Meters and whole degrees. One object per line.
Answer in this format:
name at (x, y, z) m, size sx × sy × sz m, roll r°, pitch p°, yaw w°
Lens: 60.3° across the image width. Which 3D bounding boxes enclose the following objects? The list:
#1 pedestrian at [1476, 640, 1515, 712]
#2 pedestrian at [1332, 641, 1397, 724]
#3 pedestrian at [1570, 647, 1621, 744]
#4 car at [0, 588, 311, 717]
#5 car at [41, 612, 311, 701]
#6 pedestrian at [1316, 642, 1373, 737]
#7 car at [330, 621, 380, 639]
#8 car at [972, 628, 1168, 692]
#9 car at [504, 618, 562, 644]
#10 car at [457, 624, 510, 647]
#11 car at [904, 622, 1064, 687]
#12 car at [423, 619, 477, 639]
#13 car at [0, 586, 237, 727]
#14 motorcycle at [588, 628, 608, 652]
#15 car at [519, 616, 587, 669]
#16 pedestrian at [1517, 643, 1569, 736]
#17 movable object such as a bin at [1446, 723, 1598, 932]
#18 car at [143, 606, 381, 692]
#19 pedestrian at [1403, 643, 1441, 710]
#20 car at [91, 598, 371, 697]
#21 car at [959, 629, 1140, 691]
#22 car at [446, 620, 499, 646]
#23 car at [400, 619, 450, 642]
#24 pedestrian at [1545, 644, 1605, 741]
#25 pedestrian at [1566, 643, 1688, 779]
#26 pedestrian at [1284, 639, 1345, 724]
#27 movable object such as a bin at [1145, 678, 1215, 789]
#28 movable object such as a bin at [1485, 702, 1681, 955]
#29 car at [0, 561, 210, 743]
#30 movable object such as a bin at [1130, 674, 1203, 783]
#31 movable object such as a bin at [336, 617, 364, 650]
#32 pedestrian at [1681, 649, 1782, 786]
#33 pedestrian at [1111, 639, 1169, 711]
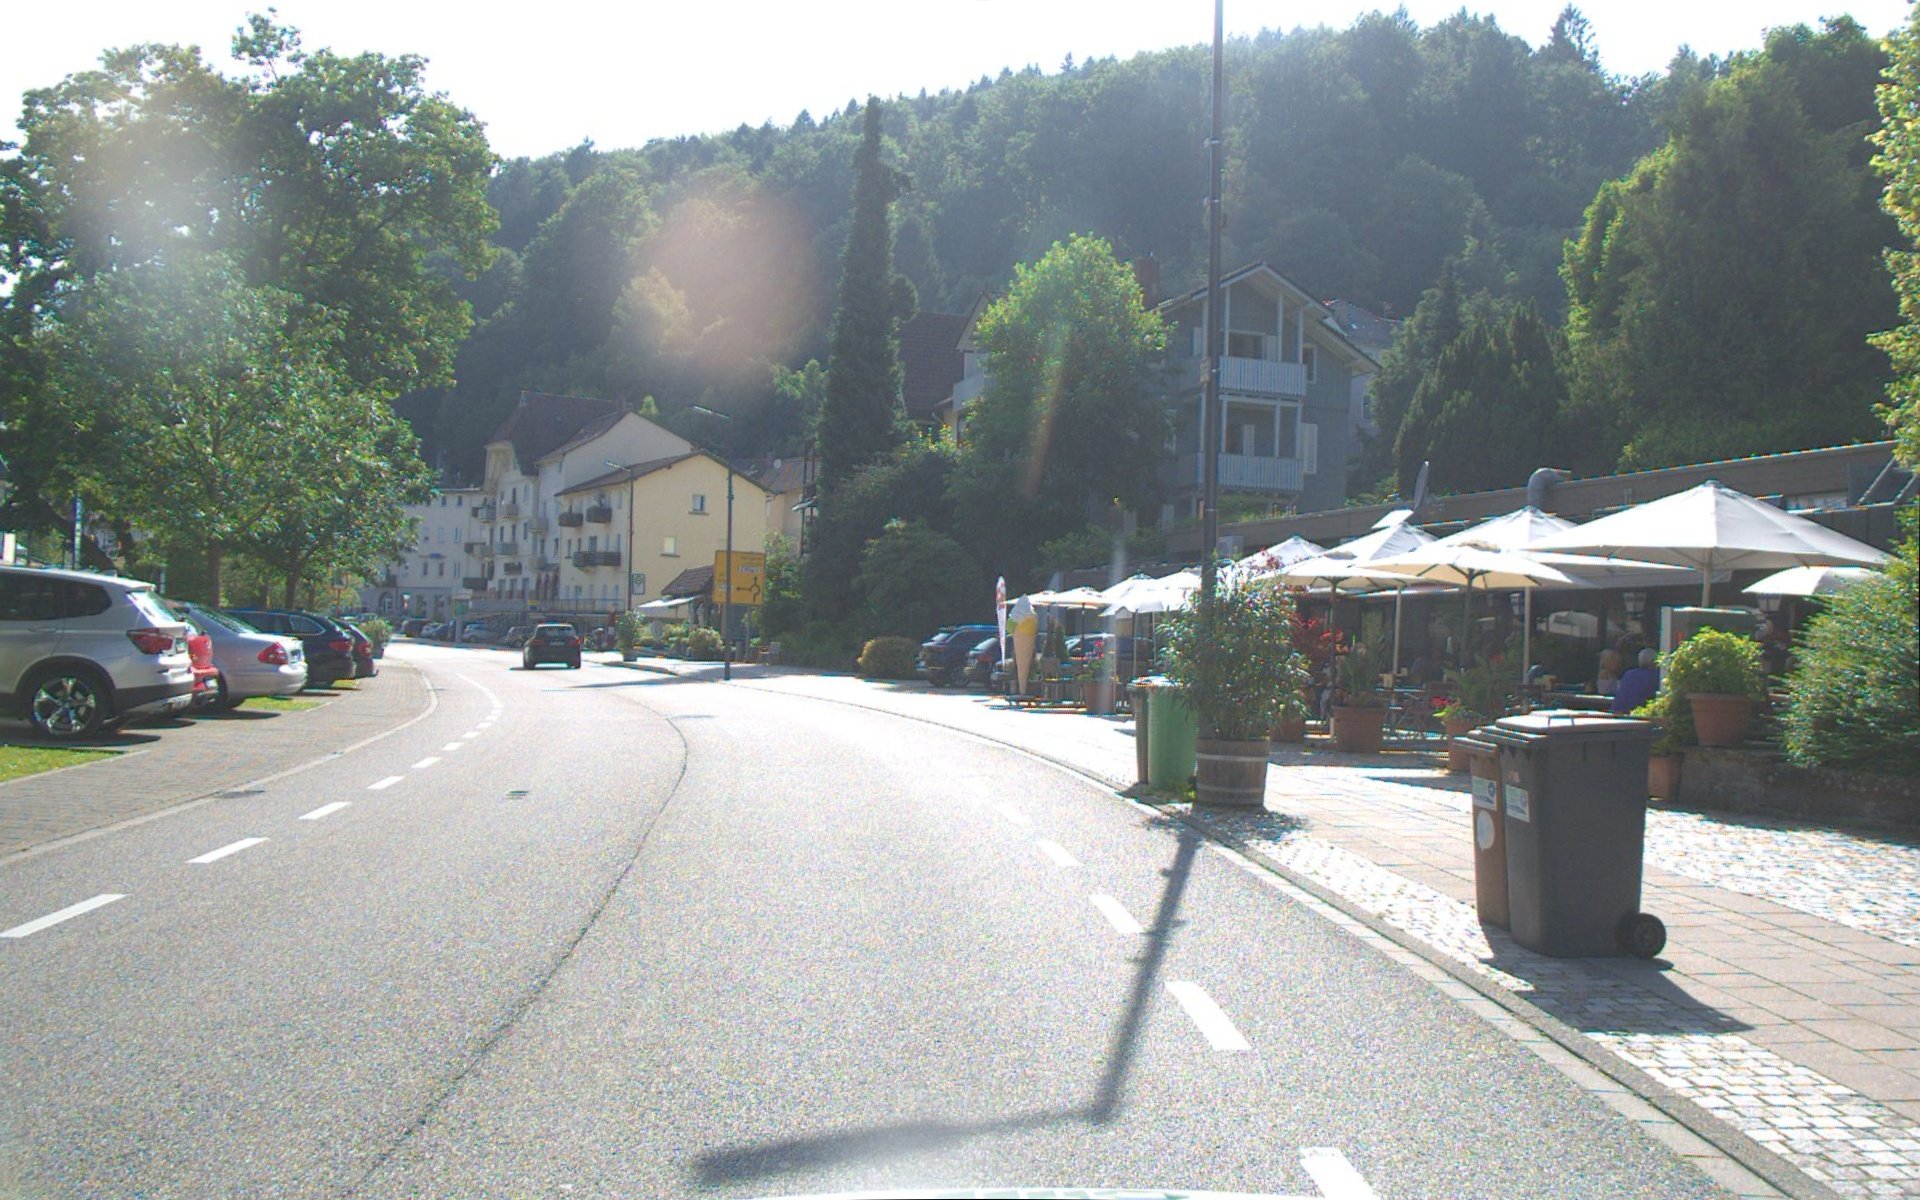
pedestrian at (10.029, 1.409, 30.977) m, size 0.671 × 1.322 × 0.637 m, roll 0°, pitch -1°, yaw 21°
pedestrian at (6.400, 1.296, 26.178) m, size 0.796 × 1.283 × 0.698 m, roll 0°, pitch -2°, yaw 36°
pedestrian at (8.584, 1.280, 22.340) m, size 0.462 × 1.287 × 0.437 m, roll 0°, pitch -1°, yaw -22°
car at (-11.108, 0.689, 21.944) m, size 4.411 × 1.442 × 1.801 m, roll 4°, pitch -3°, yaw -17°
car at (-12.617, 0.921, 26.885) m, size 3.738 × 1.265 × 1.752 m, roll 3°, pitch -2°, yaw -20°
pedestrian at (5.249, 1.211, 22.585) m, size 0.468 × 1.267 × 0.586 m, roll 1°, pitch -2°, yaw -34°
car at (-57.054, 2.793, 155.989) m, size 3.962 × 1.691 × 1.971 m, roll 1°, pitch -1°, yaw -40°
car at (2.527, 1.390, 38.168) m, size 4.196 × 1.403 × 1.700 m, roll 1°, pitch -2°, yaw -18°
car at (-32.103, 2.336, 124.432) m, size 3.822 × 1.582 × 1.741 m, roll 6°, pitch -3°, yaw -32°
car at (-39.445, 2.935, 136.902) m, size 3.867 × 1.617 × 1.757 m, roll 6°, pitch -3°, yaw -29°
car at (0.624, 1.418, 43.139) m, size 3.815 × 1.608 × 1.739 m, roll 1°, pitch -1°, yaw -18°
car at (-45.414, 2.577, 147.198) m, size 4.305 × 1.486 × 1.757 m, roll 4°, pitch -4°, yaw -27°
car at (-10.646, 0.610, 19.095) m, size 3.924 × 1.457 × 1.712 m, roll 4°, pitch -3°, yaw -17°
motorcycle at (-20.288, 2.222, 92.727) m, size 0.687 × 1.319 × 2.196 m, roll -1°, pitch -1°, yaw -23°
car at (-14.267, 1.467, 57.827) m, size 1.704 × 1.602 × 3.727 m, roll 4°, pitch 0°, yaw -23°
pedestrian at (8.565, 1.296, 24.275) m, size 0.569 × 1.327 × 0.636 m, roll -1°, pitch -1°, yaw 35°
movable object such as a bin at (2.711, 1.083, 8.016) m, size 0.515 × 0.928 × 0.562 m, roll 0°, pitch 0°, yaw -6°
car at (-13.989, 0.997, 33.267) m, size 4.221 × 1.457 × 1.699 m, roll 4°, pitch -3°, yaw -25°
pedestrian at (8.715, 1.440, 31.212) m, size 0.671 × 1.230 × 0.701 m, roll 0°, pitch -1°, yaw 13°
car at (-13.018, 0.865, 29.844) m, size 4.427 × 1.536 × 1.703 m, roll 4°, pitch -2°, yaw -20°
car at (2.169, 1.452, 40.264) m, size 4.045 × 1.440 × 1.739 m, roll 1°, pitch -2°, yaw -18°
car at (-41.034, 2.754, 139.173) m, size 3.867 × 1.836 × 1.839 m, roll 6°, pitch -4°, yaw -29°
car at (-48.765, 2.775, 150.800) m, size 4.039 × 1.695 × 1.755 m, roll 6°, pitch -3°, yaw -29°
pedestrian at (8.609, 1.286, 23.160) m, size 0.522 × 1.327 × 0.605 m, roll 0°, pitch -1°, yaw -21°
pedestrian at (6.623, 1.083, 16.436) m, size 0.934 × 1.307 × 0.641 m, roll 0°, pitch -1°, yaw -21°
pedestrian at (5.462, 1.245, 25.486) m, size 0.793 × 1.283 × 0.700 m, roll 1°, pitch -1°, yaw 0°
movable object such as a bin at (1.901, 1.146, 14.344) m, size 0.504 × 0.928 × 0.441 m, roll 0°, pitch -1°, yaw -8°
movable object such as a bin at (2.789, 1.005, 7.447) m, size 0.643 × 1.050 × 0.571 m, roll 0°, pitch 0°, yaw -6°
car at (-10.194, 0.446, 16.747) m, size 4.411 × 1.693 × 1.801 m, roll 4°, pitch -3°, yaw -17°
movable object such as a bin at (1.850, 1.146, 14.855) m, size 0.537 × 0.942 × 0.519 m, roll 0°, pitch -1°, yaw -8°
movable object such as a bin at (-28.172, 1.552, 76.395) m, size 1.064 × 1.452 × 1.367 m, roll 4°, pitch -2°, yaw -22°
pedestrian at (7.630, 1.143, 16.369) m, size 0.638 × 1.307 × 0.641 m, roll 0°, pitch -1°, yaw -20°
pedestrian at (3.282, 1.364, 30.211) m, size 0.800 × 1.283 × 0.694 m, roll 1°, pitch -1°, yaw -27°
